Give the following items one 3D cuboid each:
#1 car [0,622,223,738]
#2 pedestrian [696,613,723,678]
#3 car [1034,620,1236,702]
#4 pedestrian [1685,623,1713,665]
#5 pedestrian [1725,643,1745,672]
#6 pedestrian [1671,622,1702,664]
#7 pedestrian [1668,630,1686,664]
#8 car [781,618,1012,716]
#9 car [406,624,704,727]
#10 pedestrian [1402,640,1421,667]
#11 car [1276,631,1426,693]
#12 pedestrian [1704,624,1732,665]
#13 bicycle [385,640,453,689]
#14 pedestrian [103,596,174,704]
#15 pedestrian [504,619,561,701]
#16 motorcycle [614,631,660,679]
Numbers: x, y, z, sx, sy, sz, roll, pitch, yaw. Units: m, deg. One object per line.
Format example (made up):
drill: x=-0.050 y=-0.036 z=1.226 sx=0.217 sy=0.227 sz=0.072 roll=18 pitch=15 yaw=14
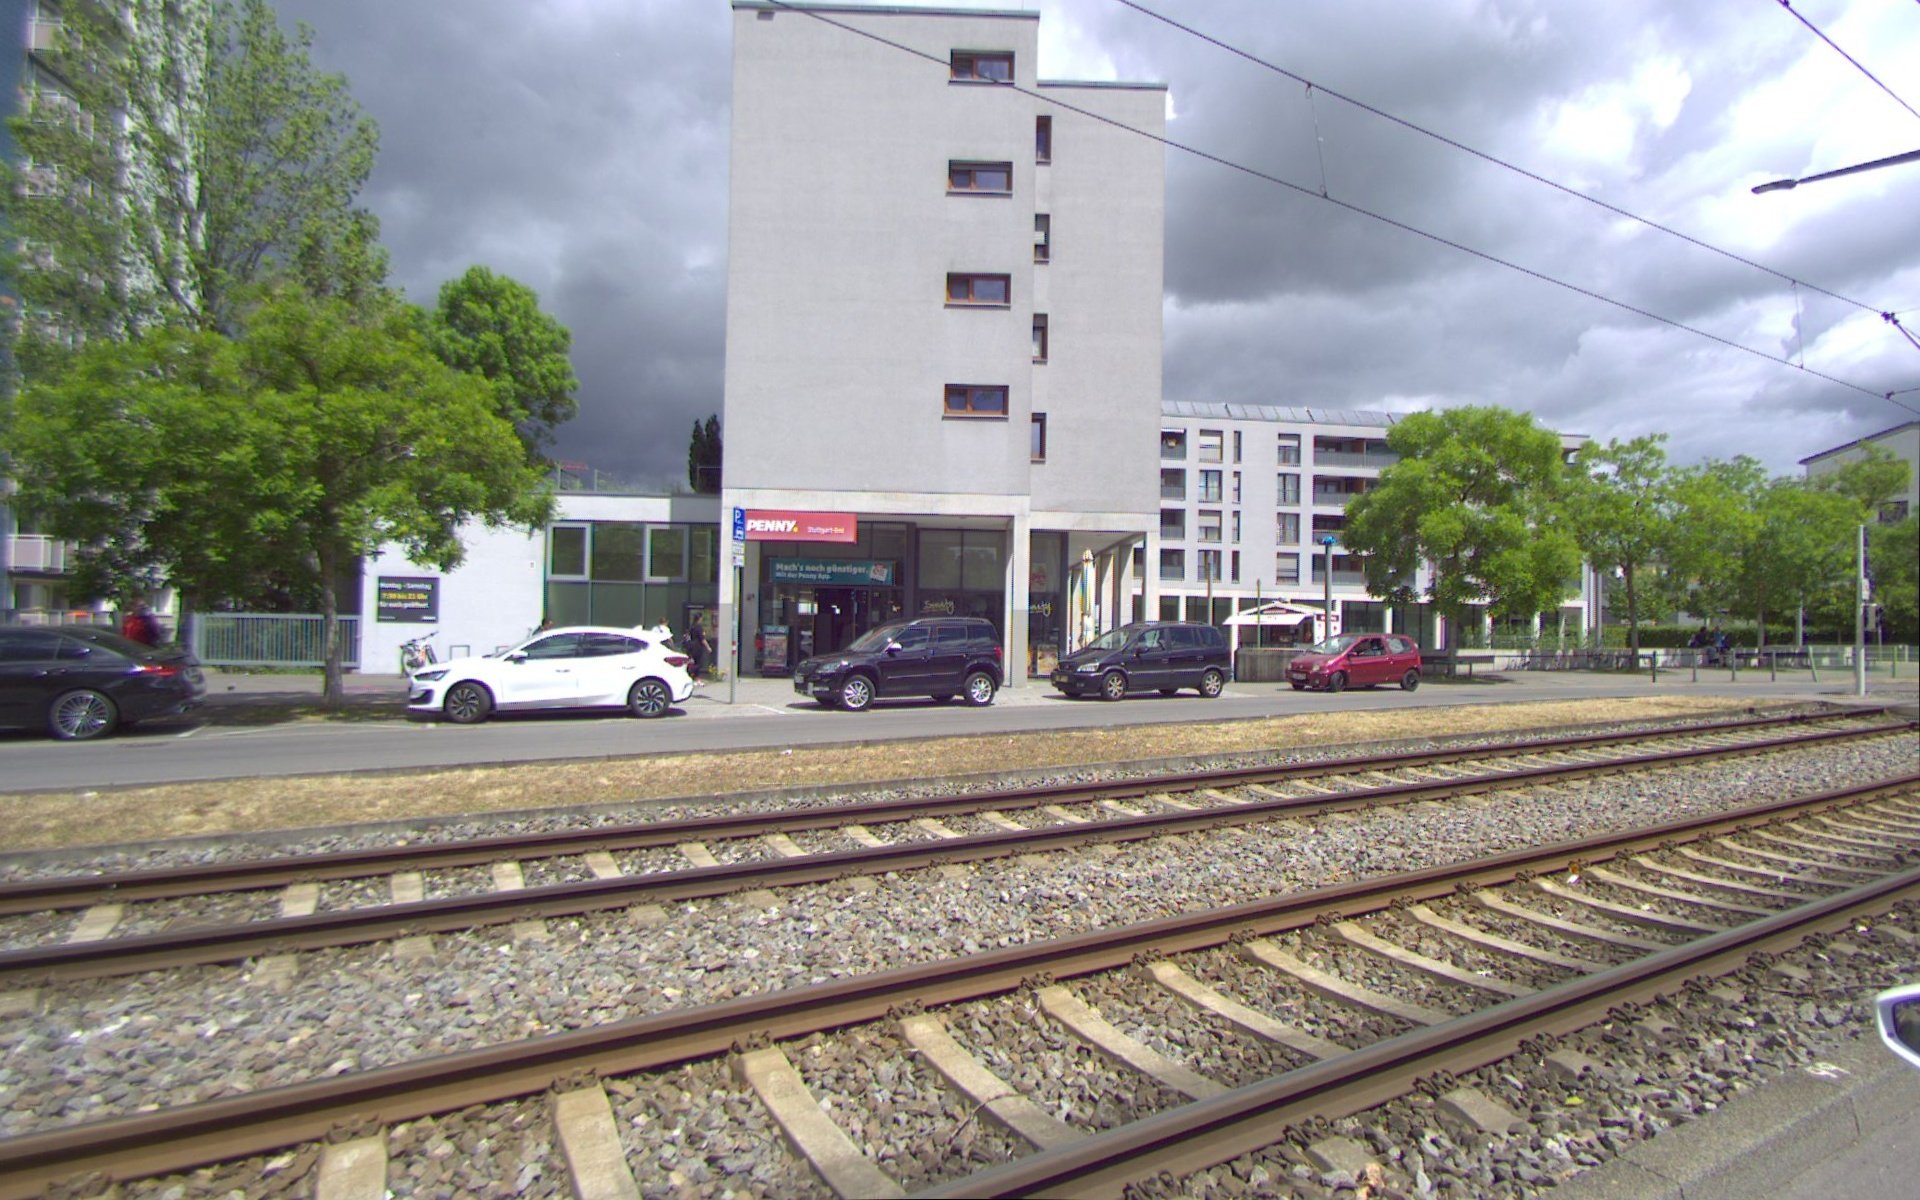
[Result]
car: x=-12.559 y=1.019 z=13.224 sx=4.323 sy=1.447 sz=1.729 roll=1 pitch=-2 yaw=-27
pedestrian: x=-5.870 y=1.064 z=23.544 sx=0.552 sy=1.479 sz=0.496 roll=0 pitch=-2 yaw=-22
car: x=3.905 y=1.307 z=22.406 sx=4.045 sy=1.669 sz=1.987 roll=0 pitch=-2 yaw=-26
pedestrian: x=28.801 y=1.710 z=39.155 sx=0.549 sy=1.594 sz=0.622 roll=0 pitch=-2 yaw=-17
pedestrian: x=35.064 y=2.591 z=45.444 sx=0.449 sy=1.263 sz=0.545 roll=-1 pitch=-2 yaw=-8
pedestrian: x=28.037 y=1.654 z=38.762 sx=0.687 sy=1.594 sz=0.622 roll=0 pitch=-2 yaw=-17
pedestrian: x=27.410 y=1.805 z=38.387 sx=0.493 sy=1.283 sz=0.498 roll=-2 pitch=-2 yaw=38
car: x=-1.204 y=1.205 z=19.455 sx=4.053 sy=1.685 sz=1.983 roll=0 pitch=-1 yaw=-31
car: x=-6.561 y=1.177 z=16.573 sx=4.338 sy=1.494 sz=1.750 roll=0 pitch=-2 yaw=-24
pedestrian: x=18.943 y=2.243 z=42.133 sx=0.566 sy=1.110 sz=0.500 roll=0 pitch=-1 yaw=-3
car: x=9.909 y=1.537 z=25.492 sx=3.373 sy=1.445 sz=1.610 roll=0 pitch=-2 yaw=-23
pedestrian: x=29.874 y=1.767 z=39.589 sx=0.550 sy=1.594 sz=0.621 roll=0 pitch=-2 yaw=-23
bicycle: x=-14.230 y=1.680 z=26.490 sx=0.656 sy=1.228 sz=1.974 roll=-1 pitch=-2 yaw=3
pedestrian: x=-14.219 y=0.850 z=17.405 sx=0.833 sy=1.816 sz=0.608 roll=0 pitch=-2 yaw=-29
pedestrian: x=-8.328 y=1.168 z=19.610 sx=0.957 sy=1.554 sz=0.601 roll=0 pitch=-2 yaw=-16
motorcycle: x=-8.413 y=1.409 z=26.129 sx=0.733 sy=1.193 sz=1.883 roll=0 pitch=-2 yaw=-30
